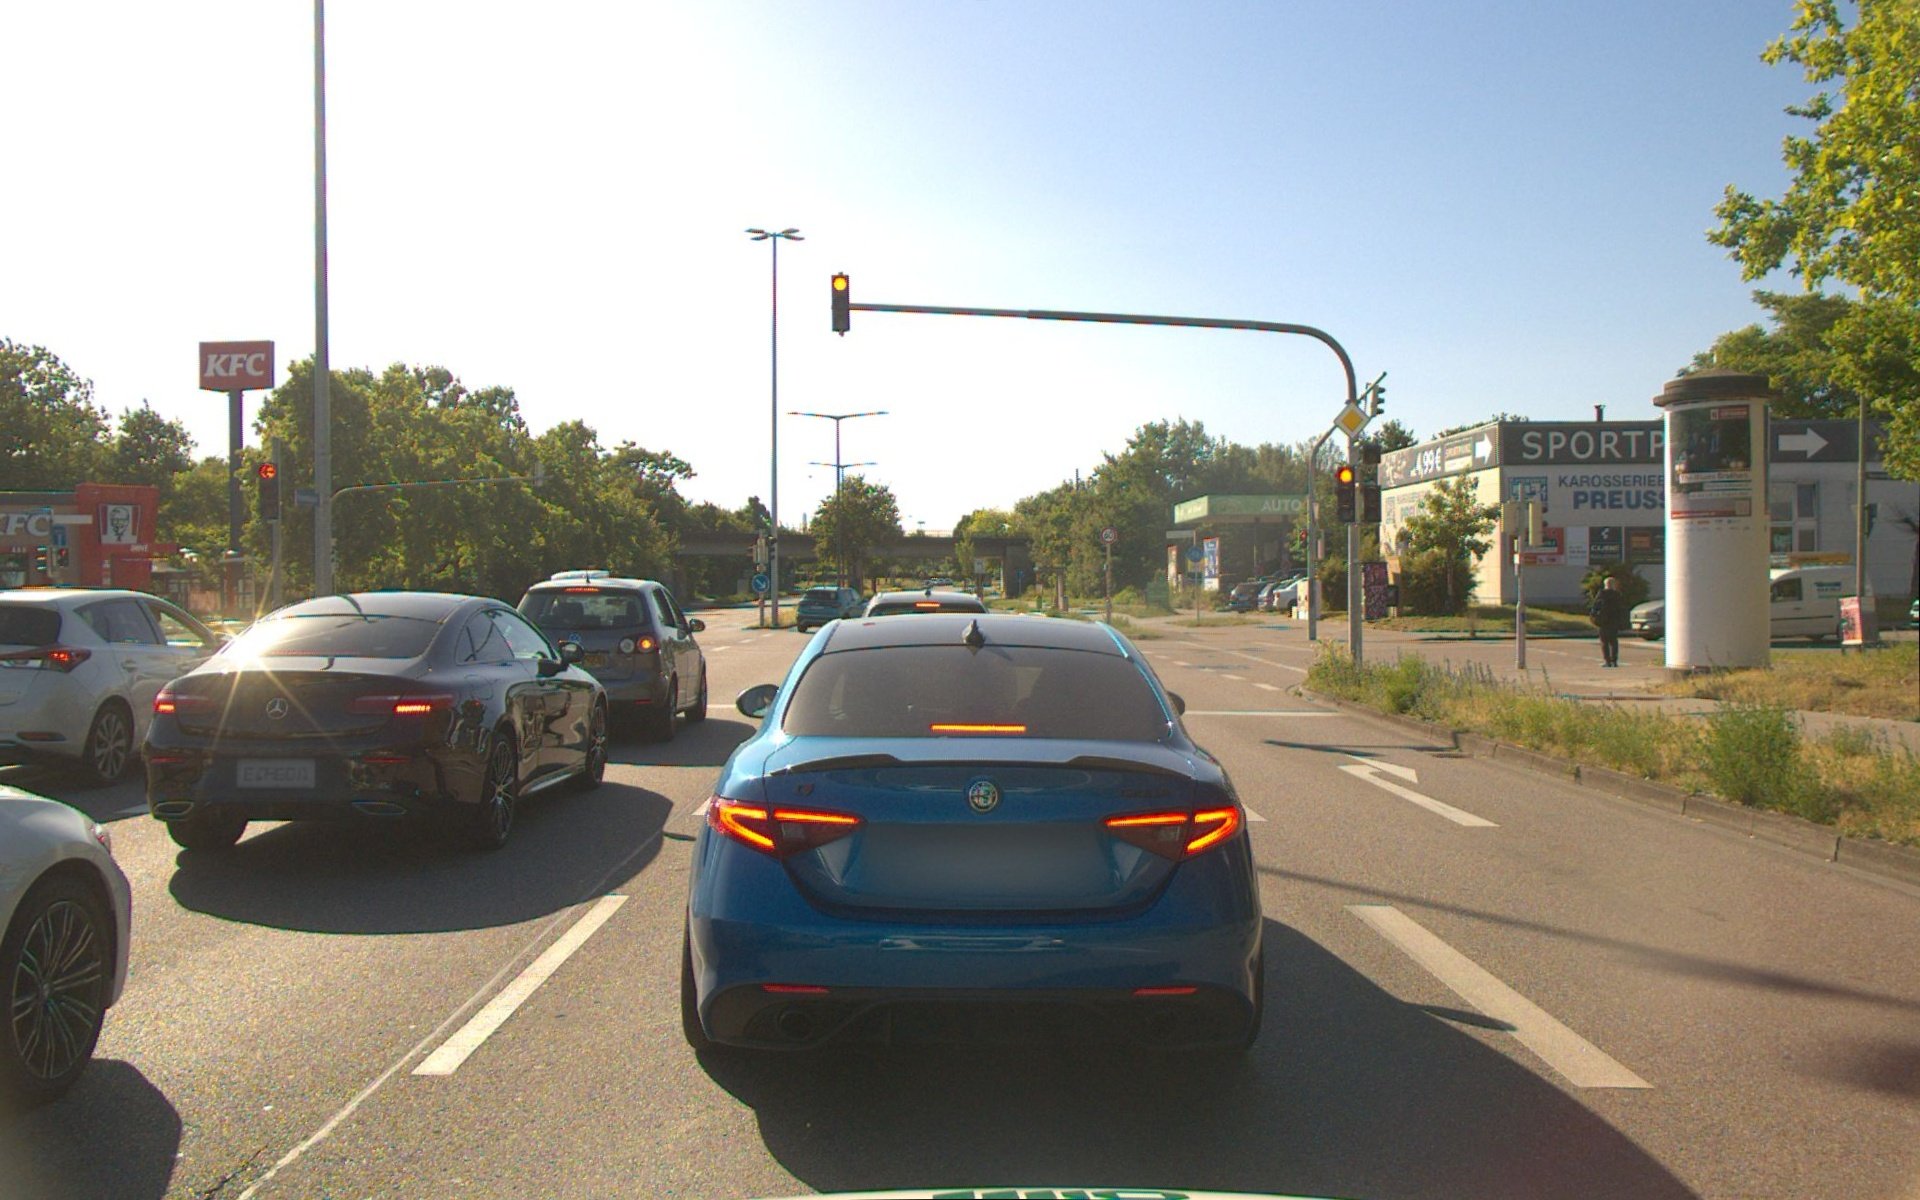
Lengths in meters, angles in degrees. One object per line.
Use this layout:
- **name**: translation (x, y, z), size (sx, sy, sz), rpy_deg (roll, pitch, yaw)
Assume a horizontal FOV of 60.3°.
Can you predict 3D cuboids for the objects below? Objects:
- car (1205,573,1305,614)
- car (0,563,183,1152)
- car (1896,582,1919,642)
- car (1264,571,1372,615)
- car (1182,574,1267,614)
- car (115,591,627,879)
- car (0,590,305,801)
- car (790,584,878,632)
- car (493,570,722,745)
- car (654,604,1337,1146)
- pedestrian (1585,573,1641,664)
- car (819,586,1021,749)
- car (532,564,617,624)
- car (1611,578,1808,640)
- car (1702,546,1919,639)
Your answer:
- **car**: translation (12.681, -0.275, 71.154), size (3.928, 1.736, 1.686), rpy_deg (0, 0, -20)
- **car**: translation (-3.350, 0.681, 3.099), size (1.732, 1.535, 4.460), rpy_deg (0, 0, -1)
- **car**: translation (27.452, 0.306, 43.761), size (4.318, 1.580, 1.998), rpy_deg (0, 0, -4)
- **car**: translation (14.352, -0.285, 66.324), size (3.923, 1.736, 1.687), rpy_deg (0, 0, -17)
- **car**: translation (11.886, -0.269, 74.332), size (3.428, 1.736, 1.688), rpy_deg (0, 0, -16)
- **car**: translation (-3.414, 0.667, 10.573), size (1.732, 1.439, 4.460), rpy_deg (0, 0, -1)
- **car**: translation (-7.163, 0.645, 13.633), size (1.819, 1.454, 4.403), rpy_deg (0, 0, -1)
- **car**: translation (-4.350, 0.237, 57.720), size (1.780, 1.622, 4.053), rpy_deg (0, 1, 16)
- **car**: translation (-3.582, 0.522, 17.446), size (1.615, 1.626, 3.931), rpy_deg (0, 0, -1)
- **car**: translation (0.071, 0.745, 6.405), size (1.828, 1.409, 3.931), rpy_deg (0, 0, -1)
- **pedestrian**: translation (12.673, 0.350, 32.124), size (0.805, 1.752, 0.854), rpy_deg (0, 0, 6)
- **car**: translation (-0.391, 0.606, 17.058), size (1.828, 1.475, 3.931), rpy_deg (0, 0, -1)
- **car**: translation (-16.587, -0.291, 71.465), size (2.382, 2.469, 5.830), rpy_deg (0, 1, -1)
- **car**: translation (19.763, 0.218, 43.728), size (4.318, 1.580, 1.998), rpy_deg (0, 0, -4)
- **car**: translation (20.606, -0.196, 40.159), size (4.318, 2.183, 1.998), rpy_deg (0, 0, -4)
